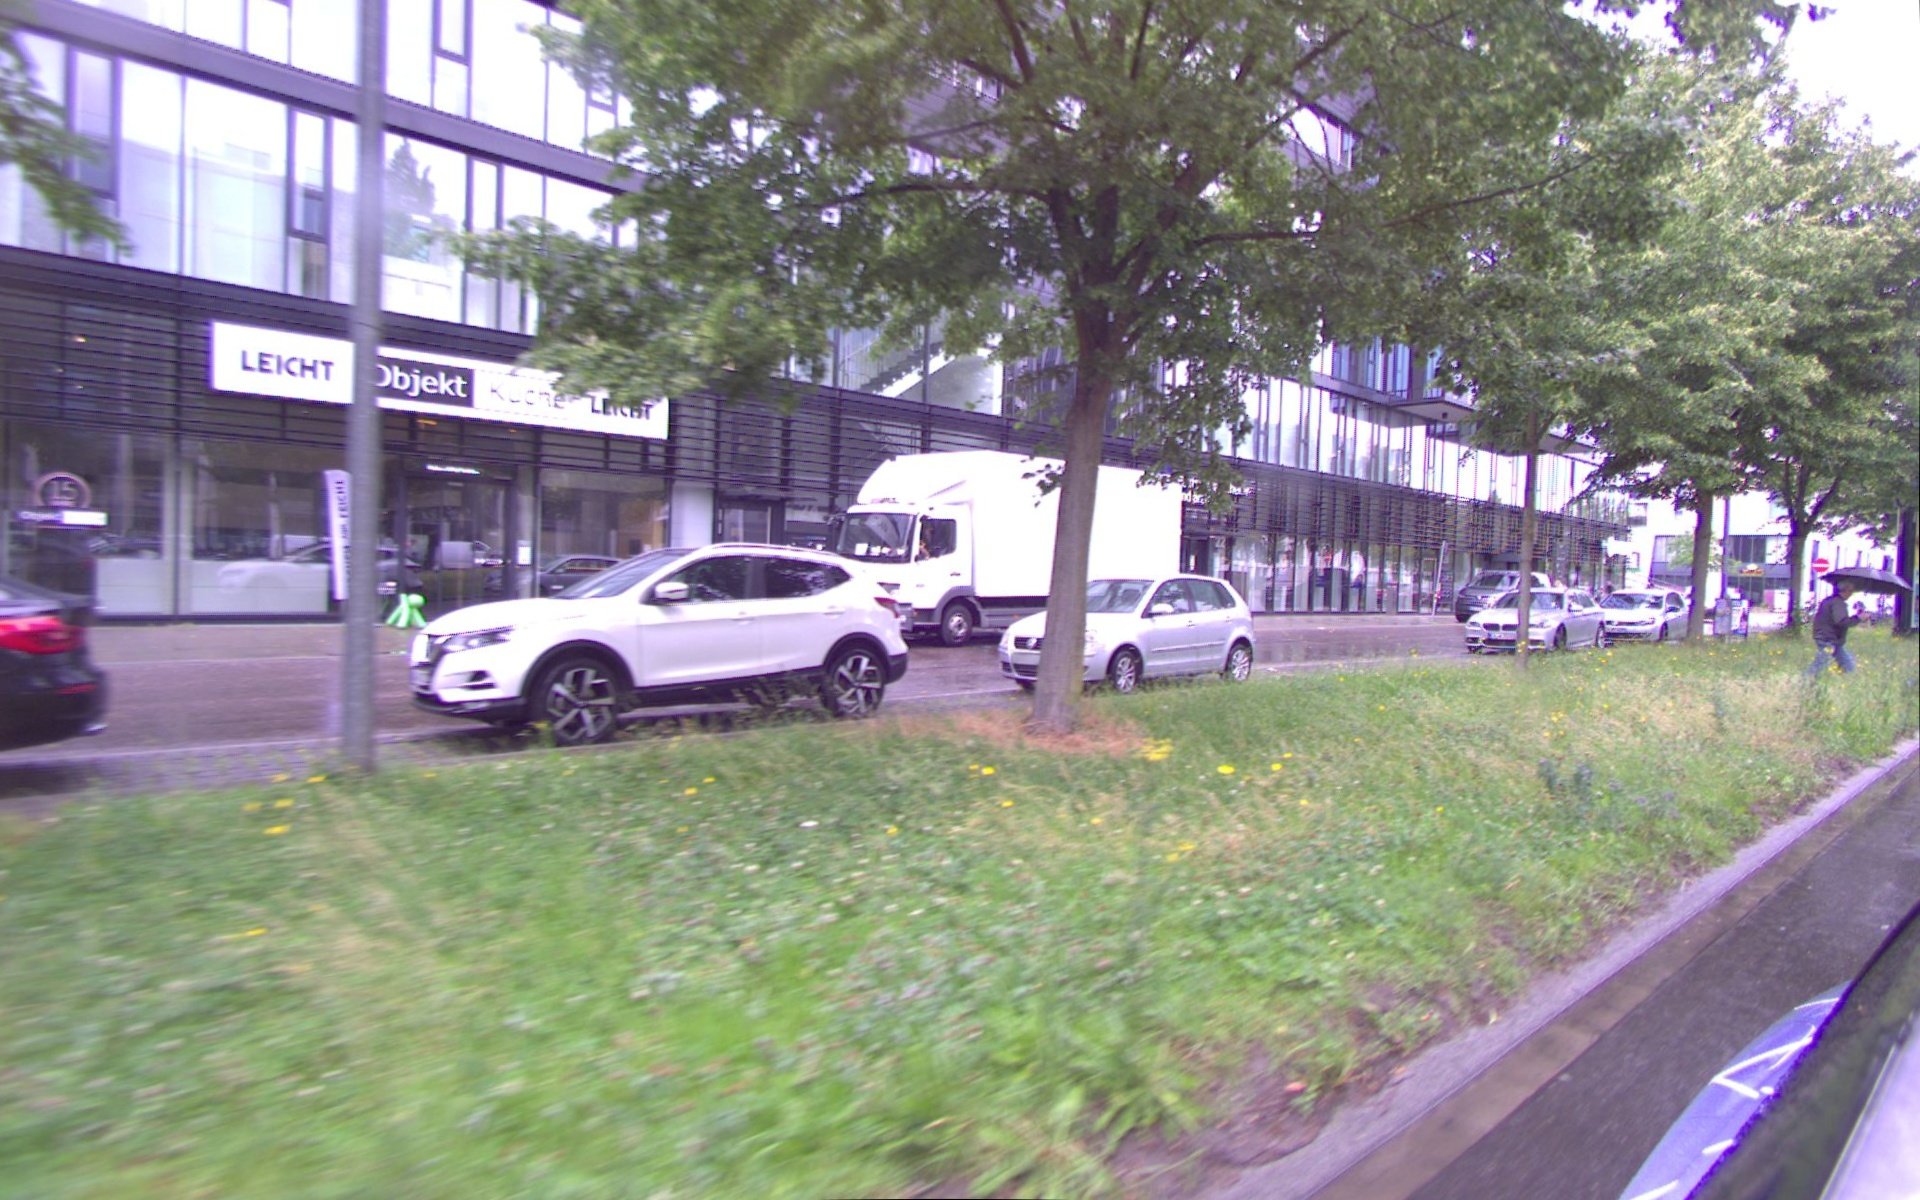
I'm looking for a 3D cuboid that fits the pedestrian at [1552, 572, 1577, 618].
[{"bbox_3d":[23.725,-0.179,39.714,0.789,1.761,0.580,3,-1,-43],"label":"pedestrian"}]

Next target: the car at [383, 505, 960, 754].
[{"bbox_3d":[-2.394,0.204,9.178,4.641,1.690,1.997,1,0,-41],"label":"car"}]

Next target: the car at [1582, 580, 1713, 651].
[{"bbox_3d":[17.799,0.418,26.145,4.027,1.616,1.764,3,0,-40],"label":"car"}]

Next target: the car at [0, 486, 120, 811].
[{"bbox_3d":[-7.122,0.174,4.729,4.870,1.690,1.998,2,1,-40],"label":"car"}]

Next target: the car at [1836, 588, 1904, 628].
[{"bbox_3d":[45.076,0.419,50.106,4.143,1.729,1.997,3,0,-42],"label":"car"}]

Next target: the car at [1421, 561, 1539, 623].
[{"bbox_3d":[17.992,-0.280,34.915,5.062,1.944,1.996,0,2,-43],"label":"car"}]

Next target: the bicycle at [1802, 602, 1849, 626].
[{"bbox_3d":[34.811,0.556,40.718,0.424,0.928,1.464,3,0,-8],"label":"bicycle"}]

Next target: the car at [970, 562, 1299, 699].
[{"bbox_3d":[2.422,0.310,13.153,4.644,1.470,1.771,-1,-1,-43],"label":"car"}]

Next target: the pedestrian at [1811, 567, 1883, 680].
[{"bbox_3d":[12.294,0.310,14.026,0.688,1.512,0.643,1,1,-42],"label":"pedestrian"}]

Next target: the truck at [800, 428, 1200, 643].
[{"bbox_3d":[1.160,-1.099,20.440,8.404,3.483,3.028,0,2,-43],"label":"truck"}]

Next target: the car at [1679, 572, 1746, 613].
[{"bbox_3d":[37.682,-0.346,50.645,4.644,1.889,1.896,1,1,-44],"label":"car"}]

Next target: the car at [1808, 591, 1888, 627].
[{"bbox_3d":[40.451,0.397,46.069,4.871,1.473,1.998,1,2,-40],"label":"car"}]

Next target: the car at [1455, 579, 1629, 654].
[{"bbox_3d":[13.156,0.315,22.724,5.149,1.462,1.996,0,2,-44],"label":"car"}]
